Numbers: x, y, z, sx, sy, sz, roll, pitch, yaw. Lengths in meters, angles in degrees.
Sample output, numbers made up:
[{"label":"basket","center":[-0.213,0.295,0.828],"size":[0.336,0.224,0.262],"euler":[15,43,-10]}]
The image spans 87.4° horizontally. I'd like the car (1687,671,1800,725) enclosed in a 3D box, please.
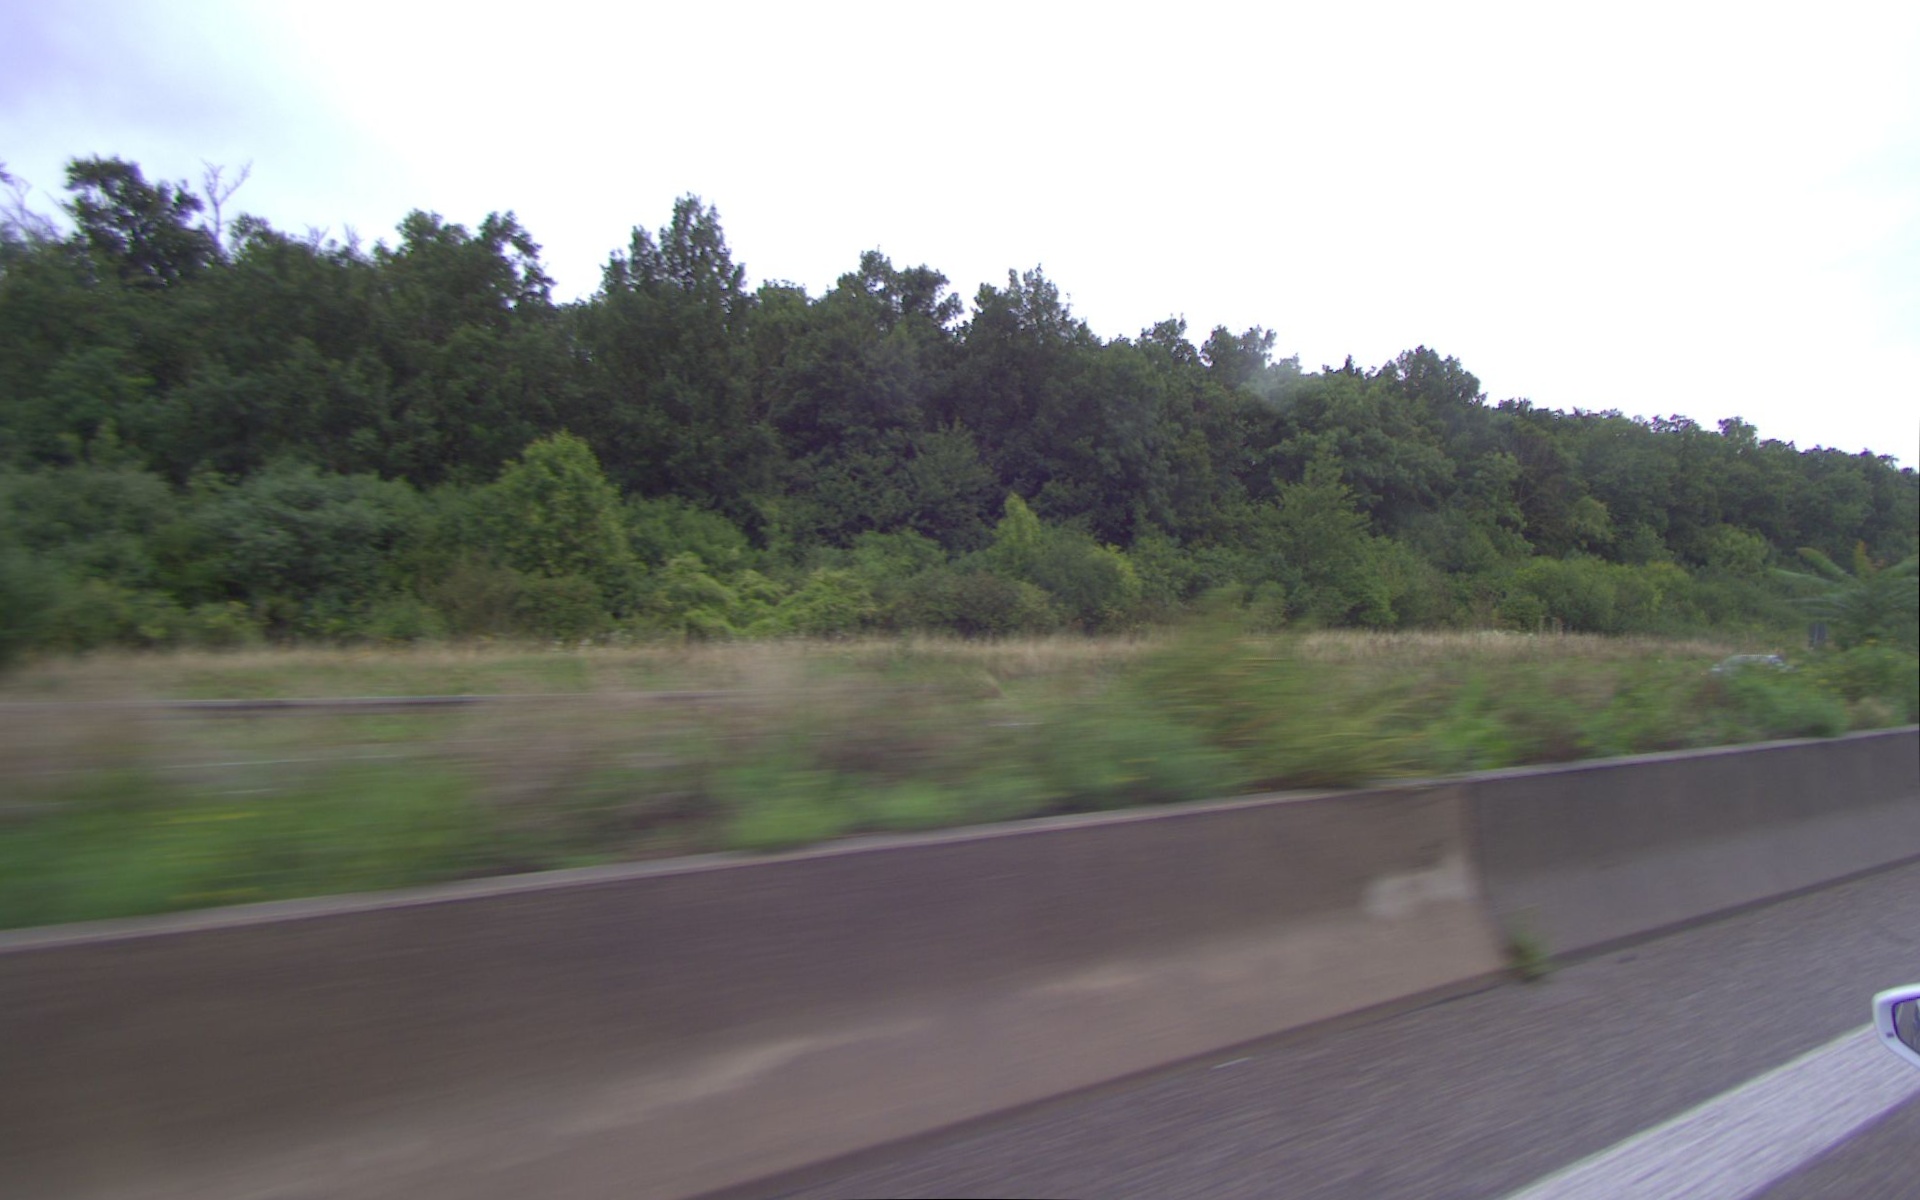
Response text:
[{"label":"car","center":[24.563,3.028,31.481],"size":[3.436,1.505,1.652],"euler":[1,-2,-31]}]
